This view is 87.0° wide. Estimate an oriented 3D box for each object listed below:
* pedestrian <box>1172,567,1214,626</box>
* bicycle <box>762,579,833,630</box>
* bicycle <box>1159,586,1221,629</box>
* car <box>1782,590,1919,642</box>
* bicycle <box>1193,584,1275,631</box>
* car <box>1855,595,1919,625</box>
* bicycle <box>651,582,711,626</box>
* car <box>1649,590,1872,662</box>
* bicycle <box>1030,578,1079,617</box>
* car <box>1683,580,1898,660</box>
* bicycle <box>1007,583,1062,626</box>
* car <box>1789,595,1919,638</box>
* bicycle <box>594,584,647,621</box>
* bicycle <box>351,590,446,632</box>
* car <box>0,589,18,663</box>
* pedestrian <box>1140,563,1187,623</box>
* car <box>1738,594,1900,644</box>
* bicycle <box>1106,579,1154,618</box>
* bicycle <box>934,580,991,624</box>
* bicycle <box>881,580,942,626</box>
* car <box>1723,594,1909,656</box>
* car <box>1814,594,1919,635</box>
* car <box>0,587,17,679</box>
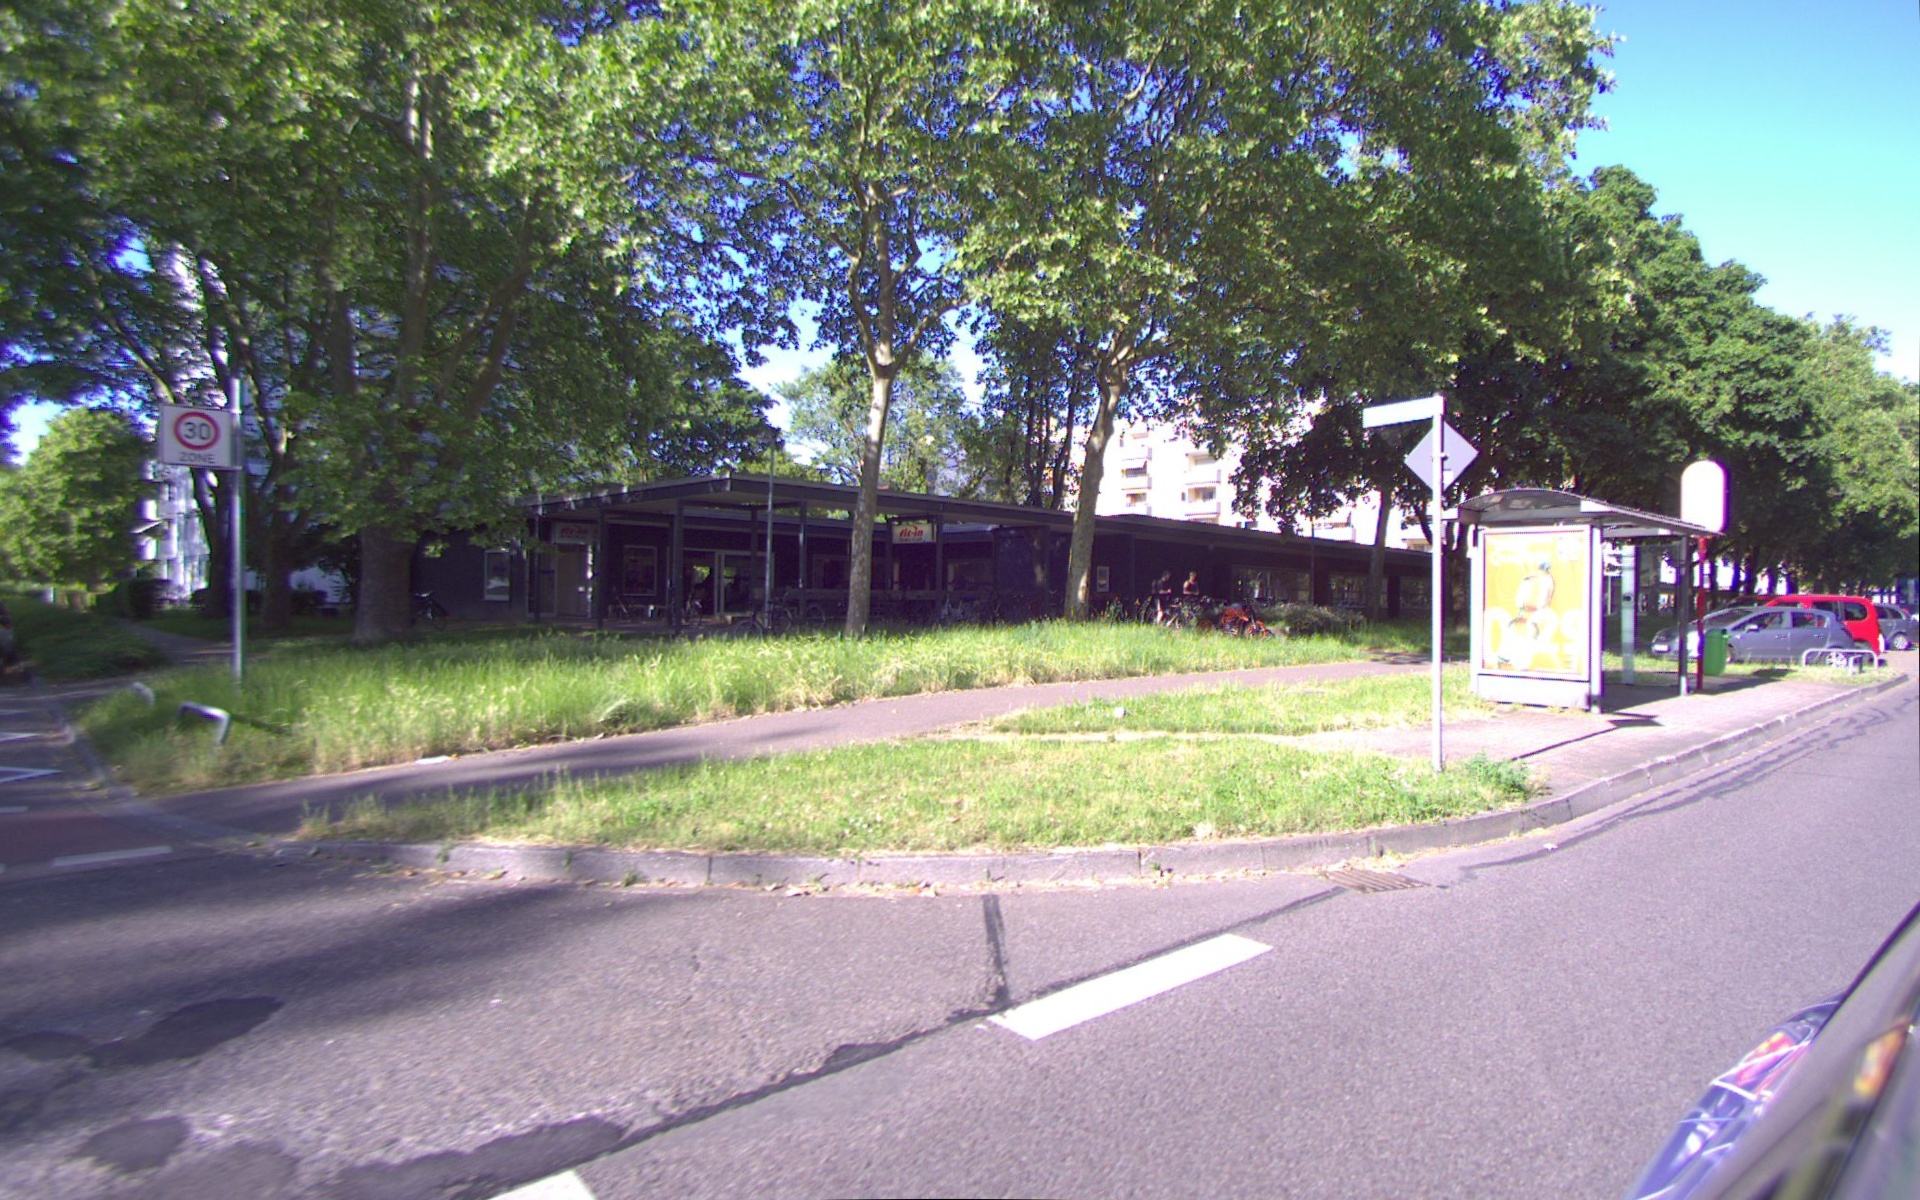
[{"bbox_3d":[7.493,-0.110,32.534,0.963,1.863,0.939,1,1,41],"label":"pedestrian"},{"bbox_3d":[-4.175,0.107,26.080,1.775,1.269,0.576,-1,-1,-42],"label":"bicycle"},{"bbox_3d":[6.640,0.200,29.367,0.550,1.172,2.077,1,1,-26],"label":"bicycle"},{"bbox_3d":[30.969,0.542,34.925,3.653,1.610,1.700,2,1,2],"label":"car"},{"bbox_3d":[7.315,0.183,27.108,2.063,1.172,0.554,2,1,40],"label":"bicycle"},{"bbox_3d":[50.250,0.574,53.131,4.590,1.443,2.000,2,1,2],"label":"car"},{"bbox_3d":[-7.569,0.095,27.418,1.799,1.129,0.700,1,2,43],"label":"bicycle"},{"bbox_3d":[18.499,0.575,23.524,3.762,1.491,1.516,1,1,6],"label":"car"},{"bbox_3d":[3.139,-0.076,33.531,1.775,1.269,0.576,-1,-1,-42],"label":"bicycle"},{"bbox_3d":[21.160,0.465,25.920,3.881,1.865,1.767,1,1,5],"label":"car"},{"bbox_3d":[2.232,0.126,30.317,1.775,1.269,0.576,-1,-1,-42],"label":"bicycle"},{"bbox_3d":[33.443,0.596,37.444,4.011,1.420,1.686,2,1,2],"label":"car"},{"bbox_3d":[-10.006,0.060,29.826,1.800,0.967,0.700,4,3,43],"label":"bicycle"},{"bbox_3d":[-15.175,0.278,27.391,0.504,0.971,2.163,1,4,43],"label":"bicycle"},{"bbox_3d":[-21.423,0.505,21.376,3.965,1.515,1.644,0,-2,39],"label":"car"},{"bbox_3d":[5.998,-0.226,29.847,1.126,1.729,0.722,1,1,41],"label":"pedestrian"},{"bbox_3d":[27.811,0.593,32.843,3.676,1.476,1.682,1,1,3],"label":"car"},{"bbox_3d":[5.681,-0.040,33.710,1.775,1.269,0.576,-1,-1,-42],"label":"bicycle"},{"bbox_3d":[0.088,0.046,30.275,1.775,1.269,0.576,-1,-1,-42],"label":"bicycle"},{"bbox_3d":[-1.371,0.067,28.841,1.775,1.269,0.576,-1,-1,-42],"label":"bicycle"},{"bbox_3d":[23.661,0.661,28.085,3.563,1.513,1.680,1,1,5],"label":"car"},{"bbox_3d":[38.901,0.600,42.540,4.227,1.697,1.865,0,0,6],"label":"car"},{"bbox_3d":[-17.431,0.526,17.284,1.679,1.515,3.736,2,0,-40],"label":"car"}]
